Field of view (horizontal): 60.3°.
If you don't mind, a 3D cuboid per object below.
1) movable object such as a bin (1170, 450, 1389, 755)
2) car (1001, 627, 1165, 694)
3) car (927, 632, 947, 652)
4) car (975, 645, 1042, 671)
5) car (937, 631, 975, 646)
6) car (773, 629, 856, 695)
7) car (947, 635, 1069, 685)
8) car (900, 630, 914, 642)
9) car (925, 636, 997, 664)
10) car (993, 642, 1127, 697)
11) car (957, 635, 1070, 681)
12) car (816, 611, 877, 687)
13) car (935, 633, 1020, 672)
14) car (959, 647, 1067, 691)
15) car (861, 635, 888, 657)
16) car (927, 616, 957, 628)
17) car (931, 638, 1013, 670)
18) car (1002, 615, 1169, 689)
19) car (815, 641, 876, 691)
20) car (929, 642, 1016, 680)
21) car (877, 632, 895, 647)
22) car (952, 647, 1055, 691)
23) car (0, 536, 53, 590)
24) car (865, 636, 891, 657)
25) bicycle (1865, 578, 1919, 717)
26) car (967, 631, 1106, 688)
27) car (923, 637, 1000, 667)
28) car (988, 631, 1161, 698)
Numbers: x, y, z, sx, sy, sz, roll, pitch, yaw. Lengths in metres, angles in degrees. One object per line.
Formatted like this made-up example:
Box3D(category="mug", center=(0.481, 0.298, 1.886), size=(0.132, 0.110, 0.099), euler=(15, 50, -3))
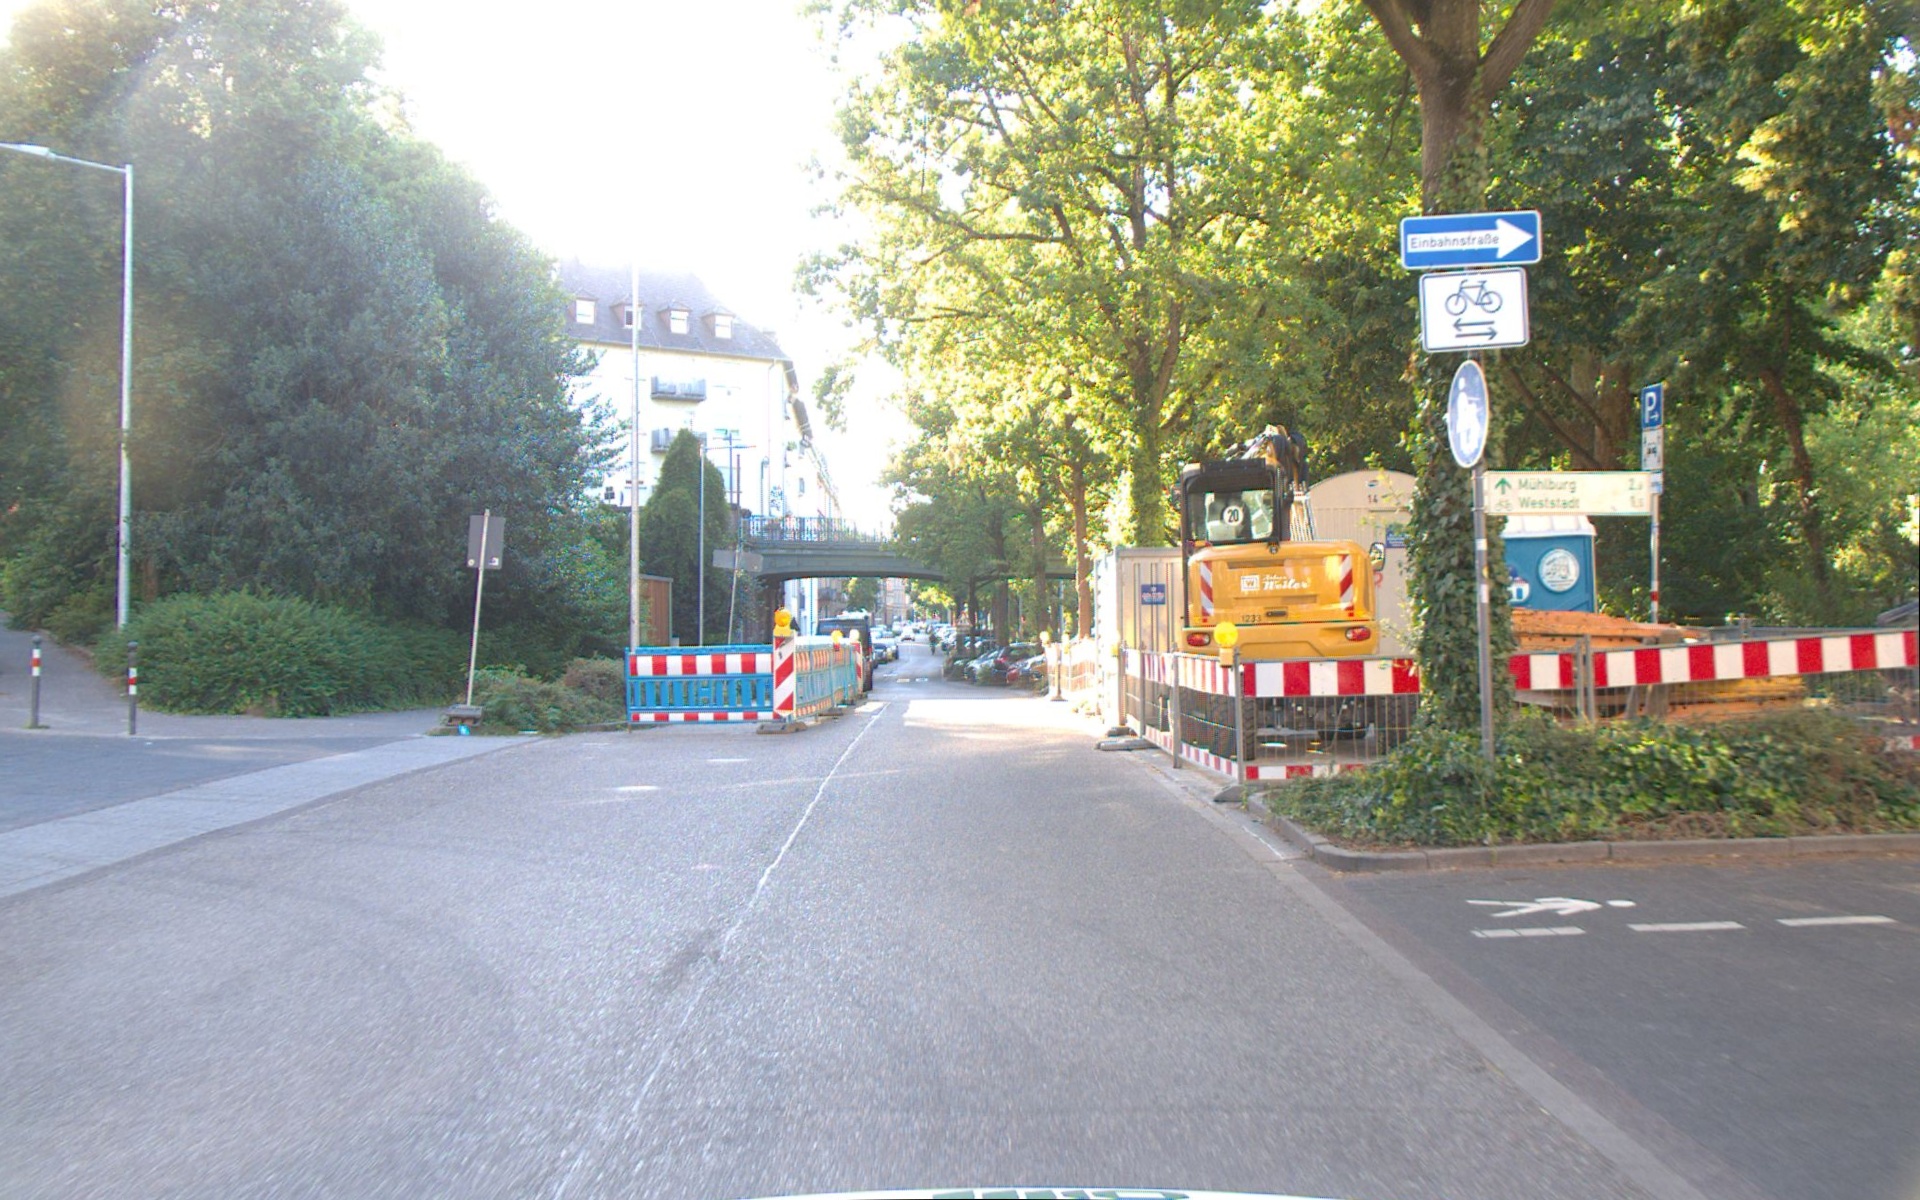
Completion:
Box3D(category="movable object such as a bin", center=(3.232, 0.037, 16.626), size=(1.951, 2.747, 3.113), euler=(0, -1, 12))
Box3D(category="car", center=(3.371, 1.697, 45.710), size=(4.300, 1.732, 1.915), euler=(1, -3, -4))
Box3D(category="car", center=(-2.041, 3.672, 144.802), size=(1.739, 1.638, 4.400), euler=(0, -2, -1))
Box3D(category="car", center=(3.189, 3.822, 108.386), size=(4.298, 1.638, 1.780), euler=(1, -3, -1))
Box3D(category="car", center=(-0.437, 4.386, 187.968), size=(4.298, 1.638, 1.780), euler=(1, -3, -1))
Box3D(category="car", center=(-3.394, 1.484, 39.205), size=(1.681, 1.443, 4.104), euler=(-2, -2, -2))
Box3D(category="car", center=(1.737, 2.218, 60.745), size=(4.300, 1.732, 1.915), euler=(1, -3, -4))
Box3D(category="car", center=(-6.889, 4.753, 215.916), size=(1.776, 1.422, 3.973), euler=(-2, -2, -2))
Box3D(category="car", center=(0.055, 3.045, 100.624), size=(4.300, 1.638, 1.779), euler=(1, -3, -4))
Box3D(category="car", center=(3.332, 2.349, 55.638), size=(4.300, 1.732, 1.915), euler=(1, -3, -4))
Box3D(category="car", center=(2.105, 2.331, 65.730), size=(4.300, 1.732, 1.915), euler=(1, -3, -4))
Box3D(category="car", center=(-3.990, 1.788, 58.826), size=(2.006, 2.541, 5.692), euler=(1, -3, -3))
Box3D(category="car", center=(0.879, 2.752, 86.184), size=(4.300, 1.894, 1.915), euler=(1, -3, -4))
Box3D(category="car", center=(2.146, 2.857, 68.325), size=(4.300, 1.732, 1.915), euler=(1, -3, -4))
Box3D(category="car", center=(-5.981, 3.233, 115.570), size=(1.776, 1.422, 3.973), euler=(-2, -2, -2))
Box3D(category="car", center=(-2.583, 3.164, 239.251), size=(4.298, 1.638, 1.780), euler=(1, -3, -1))
Box3D(category="car", center=(0.608, 2.918, 88.873), size=(4.300, 1.638, 1.779), euler=(1, -3, -4))
Box3D(category="car", center=(3.645, 1.548, 48.545), size=(4.648, 2.032, 1.914), euler=(1, -3, -5))
Box3D(category="car", center=(-3.688, 2.159, 53.809), size=(1.776, 1.478, 4.348), euler=(-2, -2, -2))
Box3D(category="car", center=(0.605, 3.129, 84.260), size=(4.300, 1.816, 1.915), euler=(1, -3, -4))
Box3D(category="car", center=(-7.871, 4.165, 175.504), size=(1.776, 1.422, 3.973), euler=(-2, -2, -2))
Box3D(category="car", center=(1.849, 2.977, 71.286), size=(4.300, 1.816, 1.915), euler=(1, -3, -4))
Box3D(category="car", center=(-37.729, -1.443, 64.079), size=(4.310, 2.049, 1.921), euler=(1, 0, -23))
Box3D(category="car", center=(-5.993, 3.432, 120.924), size=(1.776, 1.422, 3.973), euler=(-2, -2, -2))
Box3D(category="bicycle", center=(9.624, 0.443, 15.312), size=(1.006, 1.308, 2.140), euler=(-1, 0, -13))
Box3D(category="car", center=(2.424, 1.936, 53.385), size=(4.300, 1.732, 1.915), euler=(1, -3, -4))
Box3D(category="car", center=(0.070, 2.999, 95.181), size=(4.300, 1.638, 1.779), euler=(1, -3, -4))
Box3D(category="car", center=(2.979, 1.709, 43.451), size=(4.301, 1.634, 1.914), euler=(1, -3, -5))
